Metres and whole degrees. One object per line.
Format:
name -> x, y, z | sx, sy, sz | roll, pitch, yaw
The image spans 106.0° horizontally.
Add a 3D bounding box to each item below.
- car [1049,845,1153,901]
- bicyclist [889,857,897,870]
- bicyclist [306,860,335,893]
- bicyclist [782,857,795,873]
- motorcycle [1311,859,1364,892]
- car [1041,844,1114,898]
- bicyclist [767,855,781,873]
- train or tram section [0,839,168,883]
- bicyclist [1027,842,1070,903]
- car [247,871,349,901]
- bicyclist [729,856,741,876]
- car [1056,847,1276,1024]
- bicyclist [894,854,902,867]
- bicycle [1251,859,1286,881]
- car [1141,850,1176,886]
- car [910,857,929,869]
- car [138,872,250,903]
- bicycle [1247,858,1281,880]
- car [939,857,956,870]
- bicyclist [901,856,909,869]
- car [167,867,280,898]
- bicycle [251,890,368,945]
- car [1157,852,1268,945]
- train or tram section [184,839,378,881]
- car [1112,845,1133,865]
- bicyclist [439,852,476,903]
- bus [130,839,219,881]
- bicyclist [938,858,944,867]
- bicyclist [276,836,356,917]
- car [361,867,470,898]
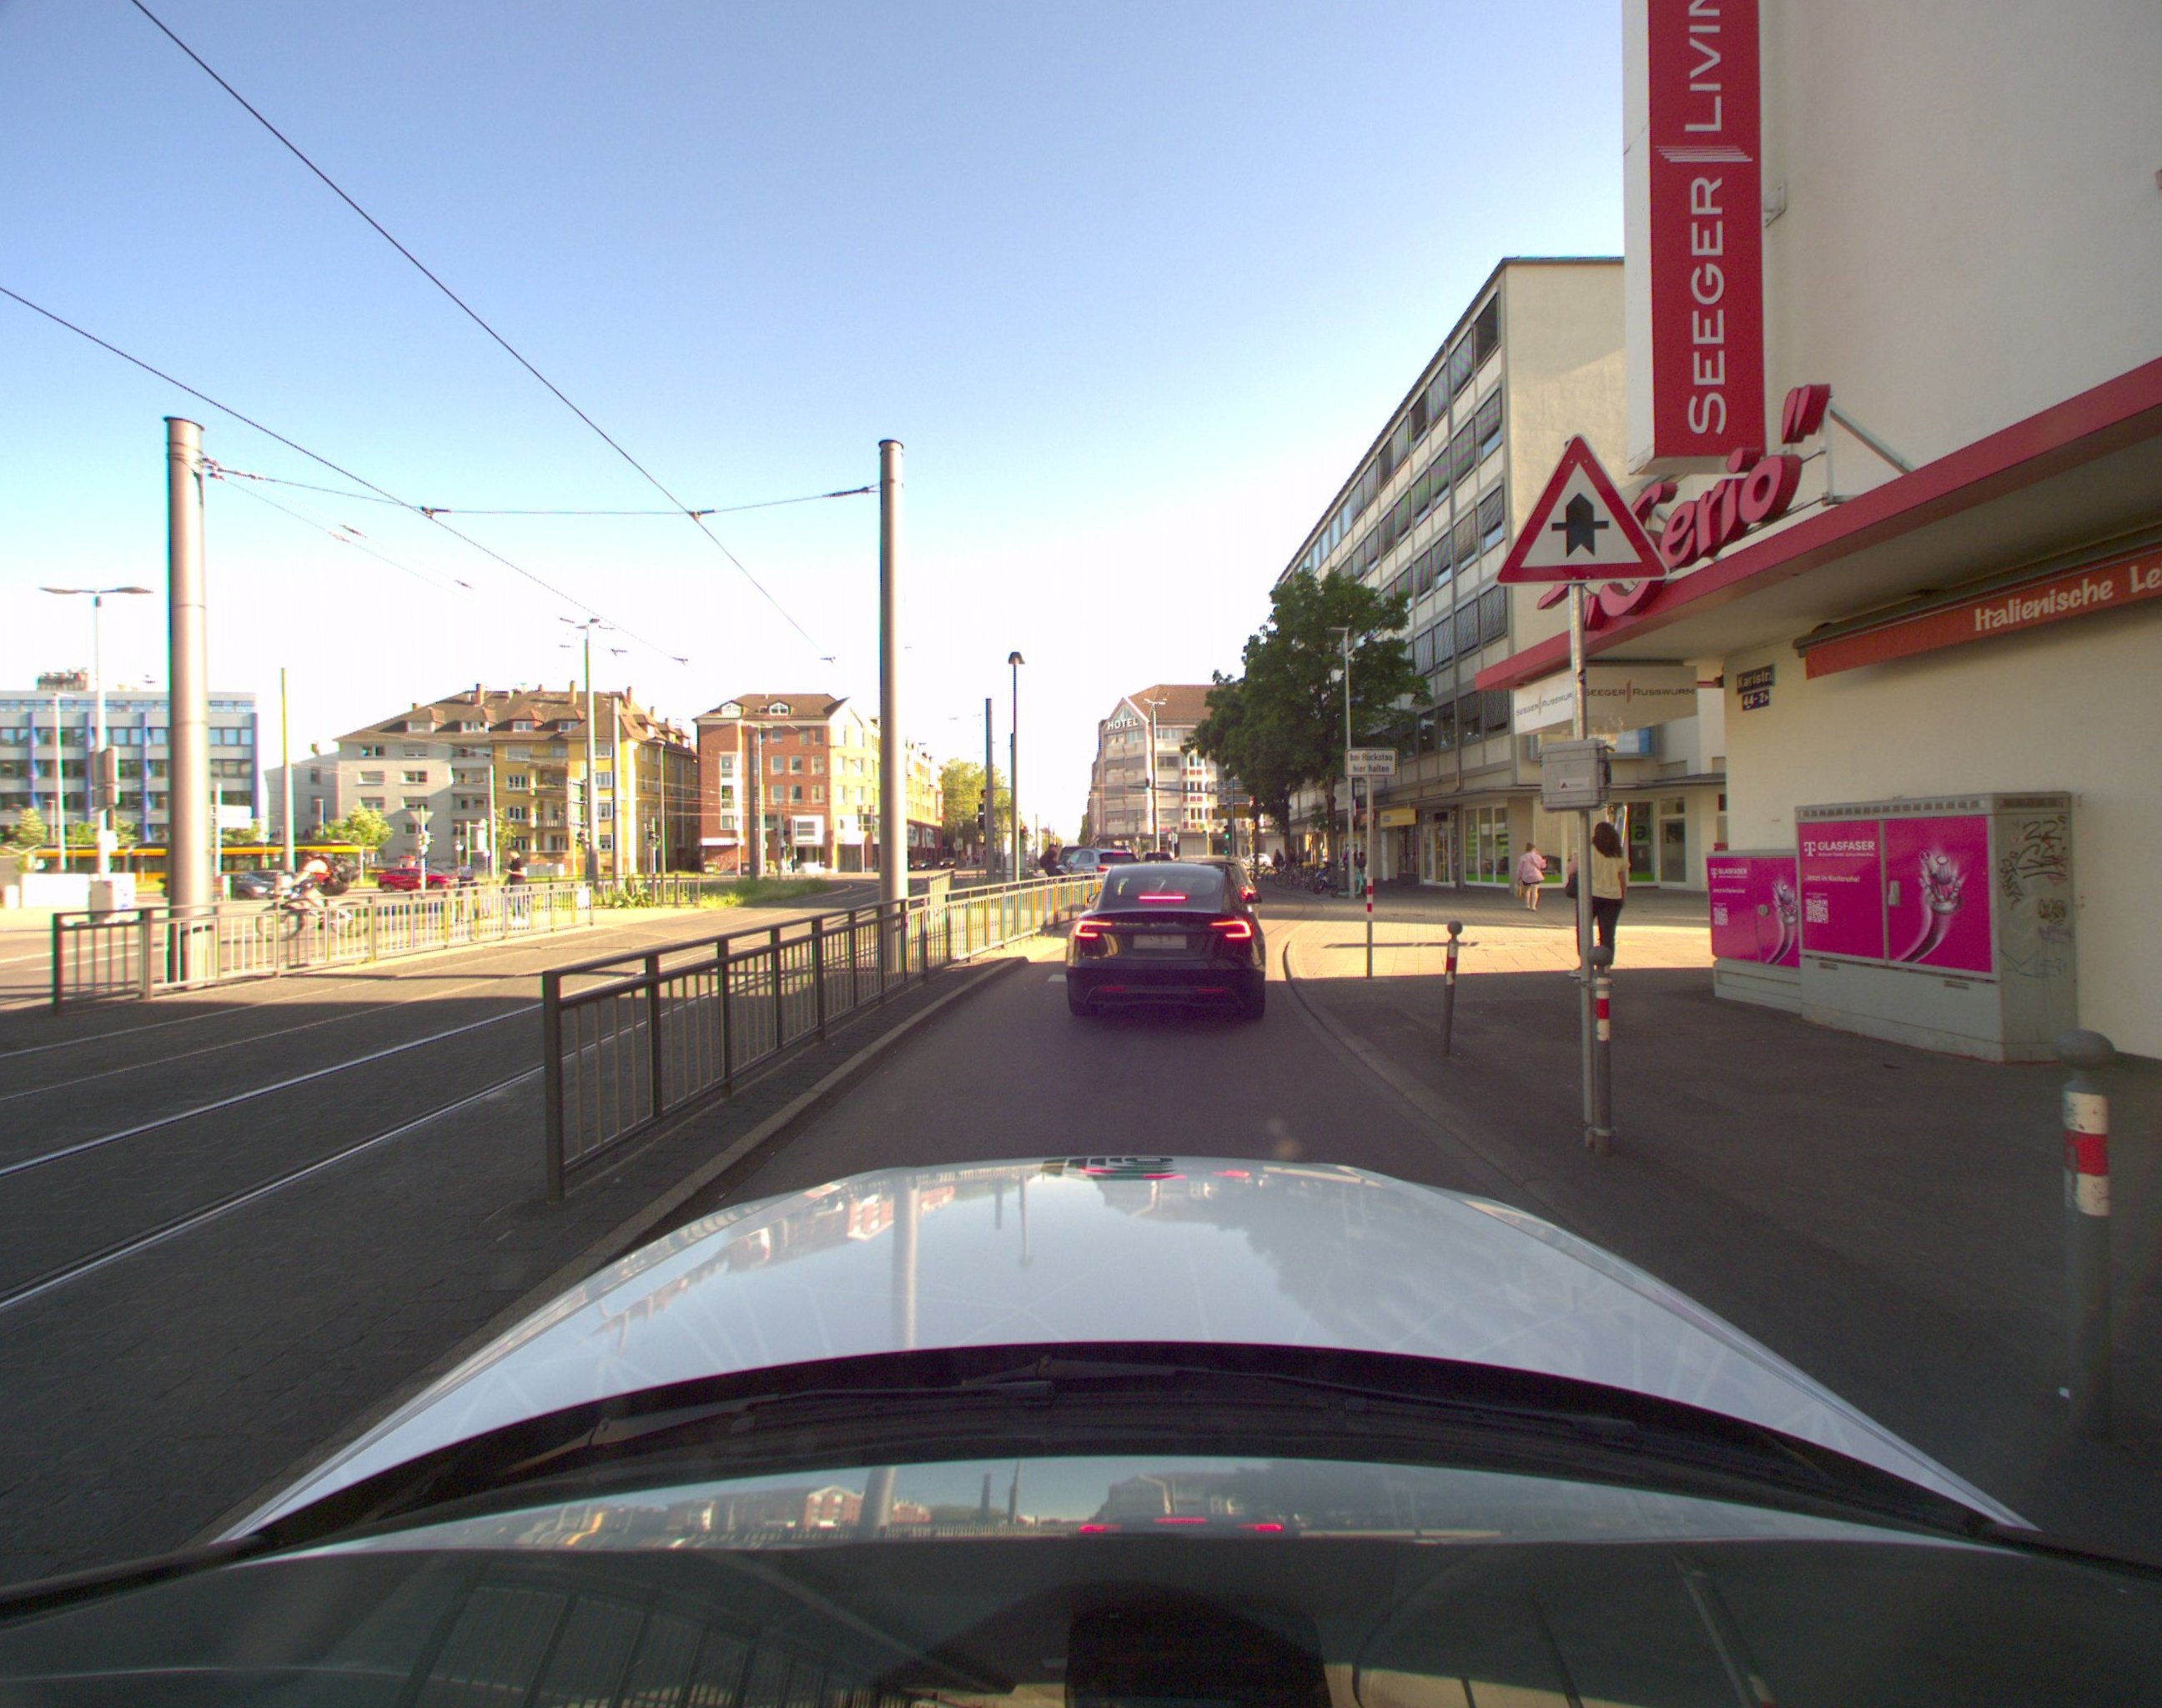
car -> 0.560, 0.587, 26.663 | 1.891, 1.662, 4.126 | 0, -1, -23
bicyclist -> -22.421, 1.128, 96.987 | 0.781, 1.563, 0.747 | 0, -1, 2
bicyclist -> -42.657, 1.267, 45.670 | 0.901, 1.808, 0.788 | 0, -1, -12
bicyclist -> -26.909, 1.018, 74.953 | 0.699, 1.471, 0.975 | -1, 0, 9
motorcycle -> 9.143, 0.766, 29.053 | 1.701, 1.173, 0.541 | 0, -1, 0
car -> -0.215, 0.664, 32.772 | 1.997, 2.014, 3.980 | -1, 0, -15
bicyclist -> -25.844, 0.829, 68.533 | 0.895, 1.503, 0.696 | 0, -1, 1
train or tram section -> -77.796, 0.540, 61.320 | 13.655, 3.131, 2.728 | 0, -1, -6
bicyclist -> -0.890, 0.500, 22.429 | 0.763, 1.628, 0.967 | 0, -1, -37
car -> -45.493, 1.844, 47.386 | 3.984, 1.672, 1.772 | 0, -1, -8
bicyclist -> -26.091, 0.920, 61.430 | 0.631, 1.503, 0.696 | 0, -1, 1
car -> 0.936, 0.692, 8.790 | 1.820, 1.455, 4.007 | -1, -1, 7
bicyclist -> -22.673, 0.849, 100.746 | 0.780, 1.563, 0.747 | -1, 0, 3
bicycle -> 9.281, 0.797, 40.258 | 1.643, 1.099, 0.350 | 0, -1, 3
car -> 3.989, 0.696, 42.443 | 1.592, 1.778, 3.982 | 0, -1, 2
car -> -20.480, 1.126, 103.373 | 1.706, 1.527, 4.032 | 0, -1, -3
car -> -50.623, 1.884, 46.568 | 3.952, 1.685, 1.903 | 0, -1, -11
bicycle -> 9.263, 0.759, 41.306 | 1.643, 1.099, 0.350 | -1, 0, 3
car -> -17.424, 1.241, 106.509 | 1.692, 1.731, 3.706 | 0, -1, 0
bicyclist -> -22.394, 1.048, 103.407 | 0.780, 1.563, 0.747 | -1, 0, 3
car -> -44.836, 1.490, 42.644 | 3.850, 1.526, 1.641 | 0, -1, -8
bicycle -> -14.822, 1.208, 15.683 | 1.601, 0.994, 0.401 | 0, -1, -18
car -> 2.377, 0.706, 14.978 | 1.741, 1.454, 4.009 | -1, 0, 8
train or tram section -> -61.939, 0.435, 63.331 | 11.224, 3.131, 2.797 | 0, -1, -8
car -> 3.630, 0.095, 71.290 | 1.713, 1.751, 3.755 | 0, -1, 2
bicyclist -> -22.063, 0.833, 28.819 | 0.756, 1.759, 0.751 | 0, -1, -9
bus -> -69.240, 0.482, 62.273 | 3.512, 3.131, 2.765 | 0, -1, -6
bicyclist -> -23.210, 1.388, 135.143 | 0.780, 1.563, 0.747 | 0, -1, 3
bicyclist -> -14.746, 0.425, 15.715 | 1.043, 1.521, 0.389 | 0, -1, -18
car -> -39.456, 1.658, 48.381 | 4.585, 1.700, 1.993 | 0, -1, -10
